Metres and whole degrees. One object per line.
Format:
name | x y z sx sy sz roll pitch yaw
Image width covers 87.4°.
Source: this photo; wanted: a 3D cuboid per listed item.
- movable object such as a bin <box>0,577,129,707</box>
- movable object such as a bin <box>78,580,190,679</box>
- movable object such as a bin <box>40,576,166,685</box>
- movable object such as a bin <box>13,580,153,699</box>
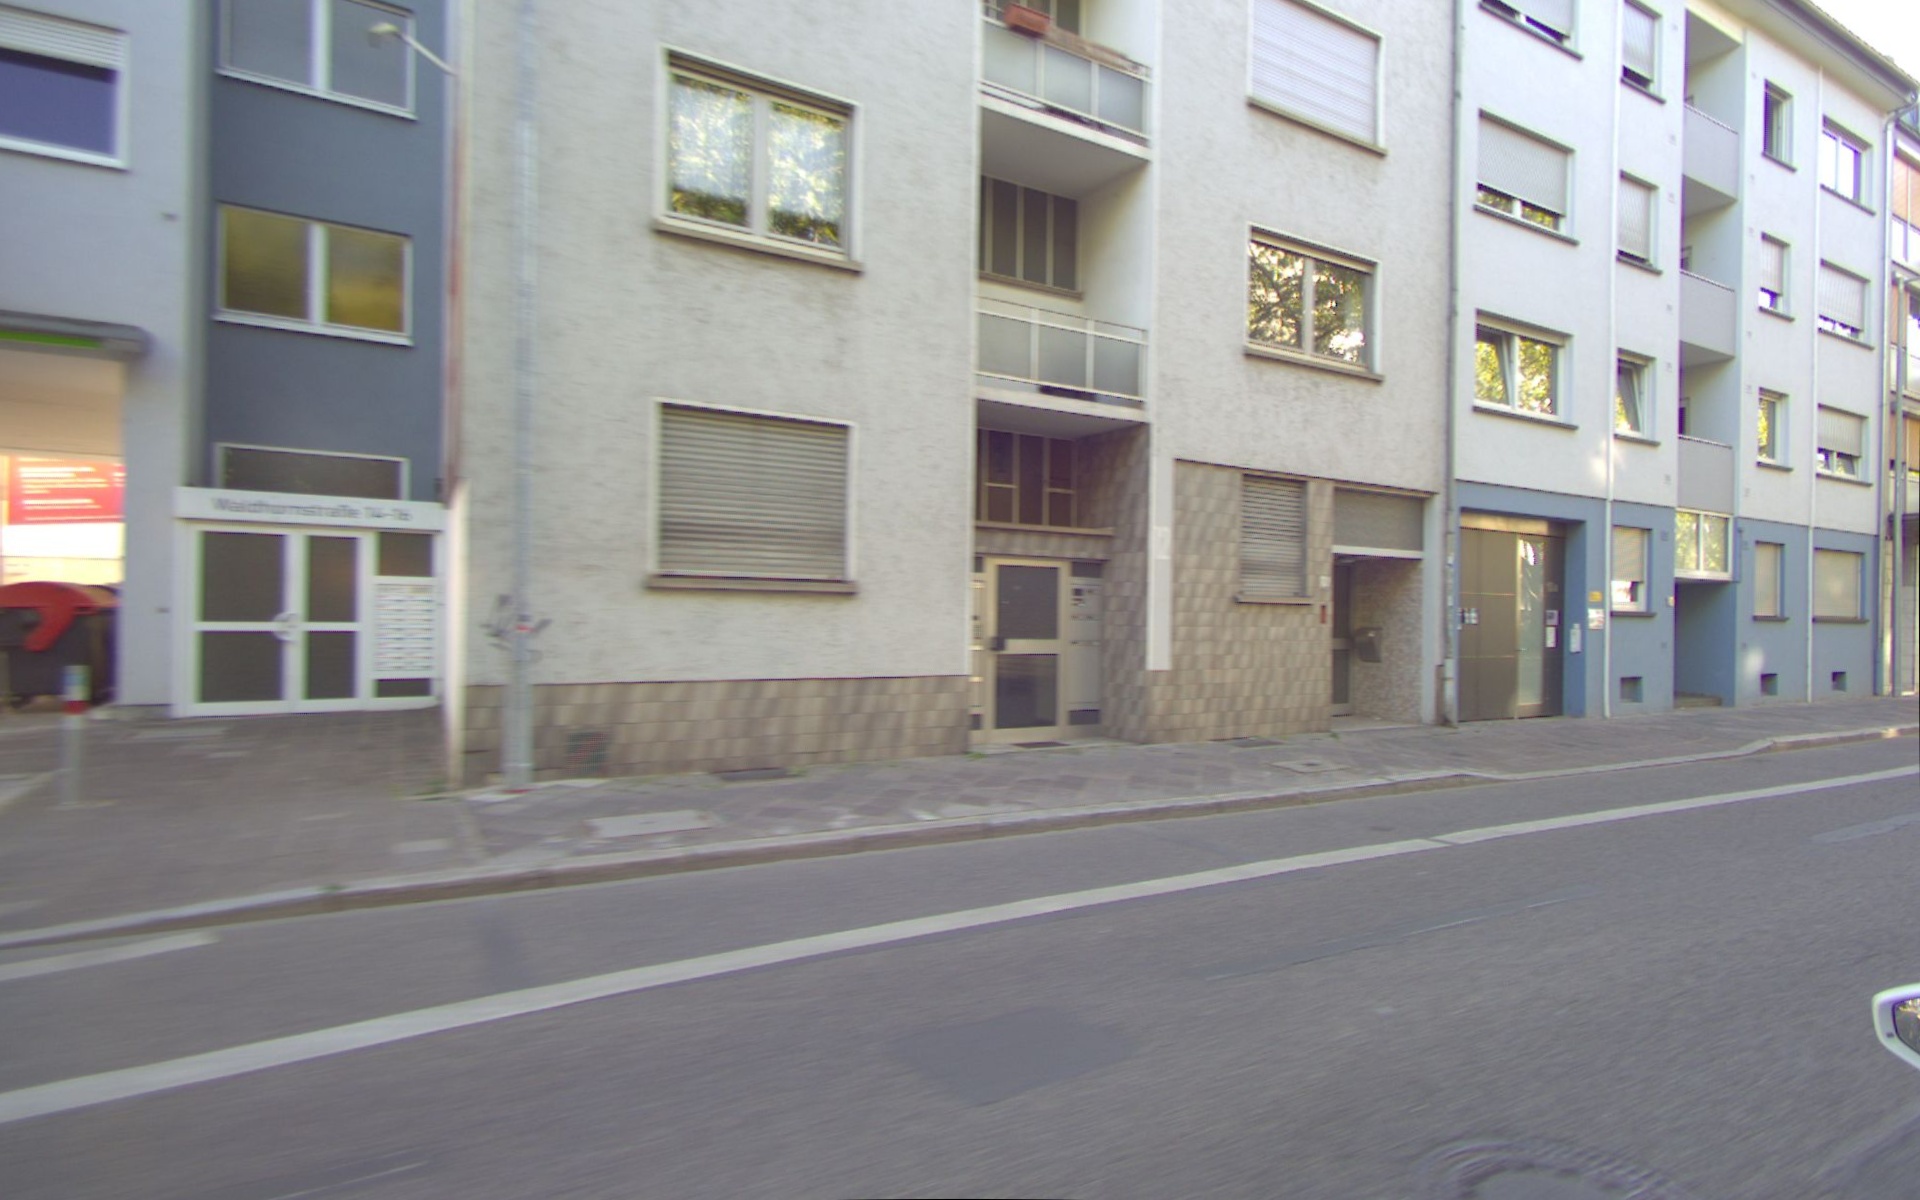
movable object such as a bin | -10.448 0.466 11.601 1.077 1.419 1.272 1 -1 -30
movable object such as a bin | -12.533 0.440 15.300 1.077 1.419 1.272 1 -1 -30
movable object such as a bin | -11.877 0.416 13.982 1.077 1.419 1.272 1 -1 -30
movable object such as a bin | -11.096 0.489 12.778 1.077 1.419 1.272 1 -1 -30
